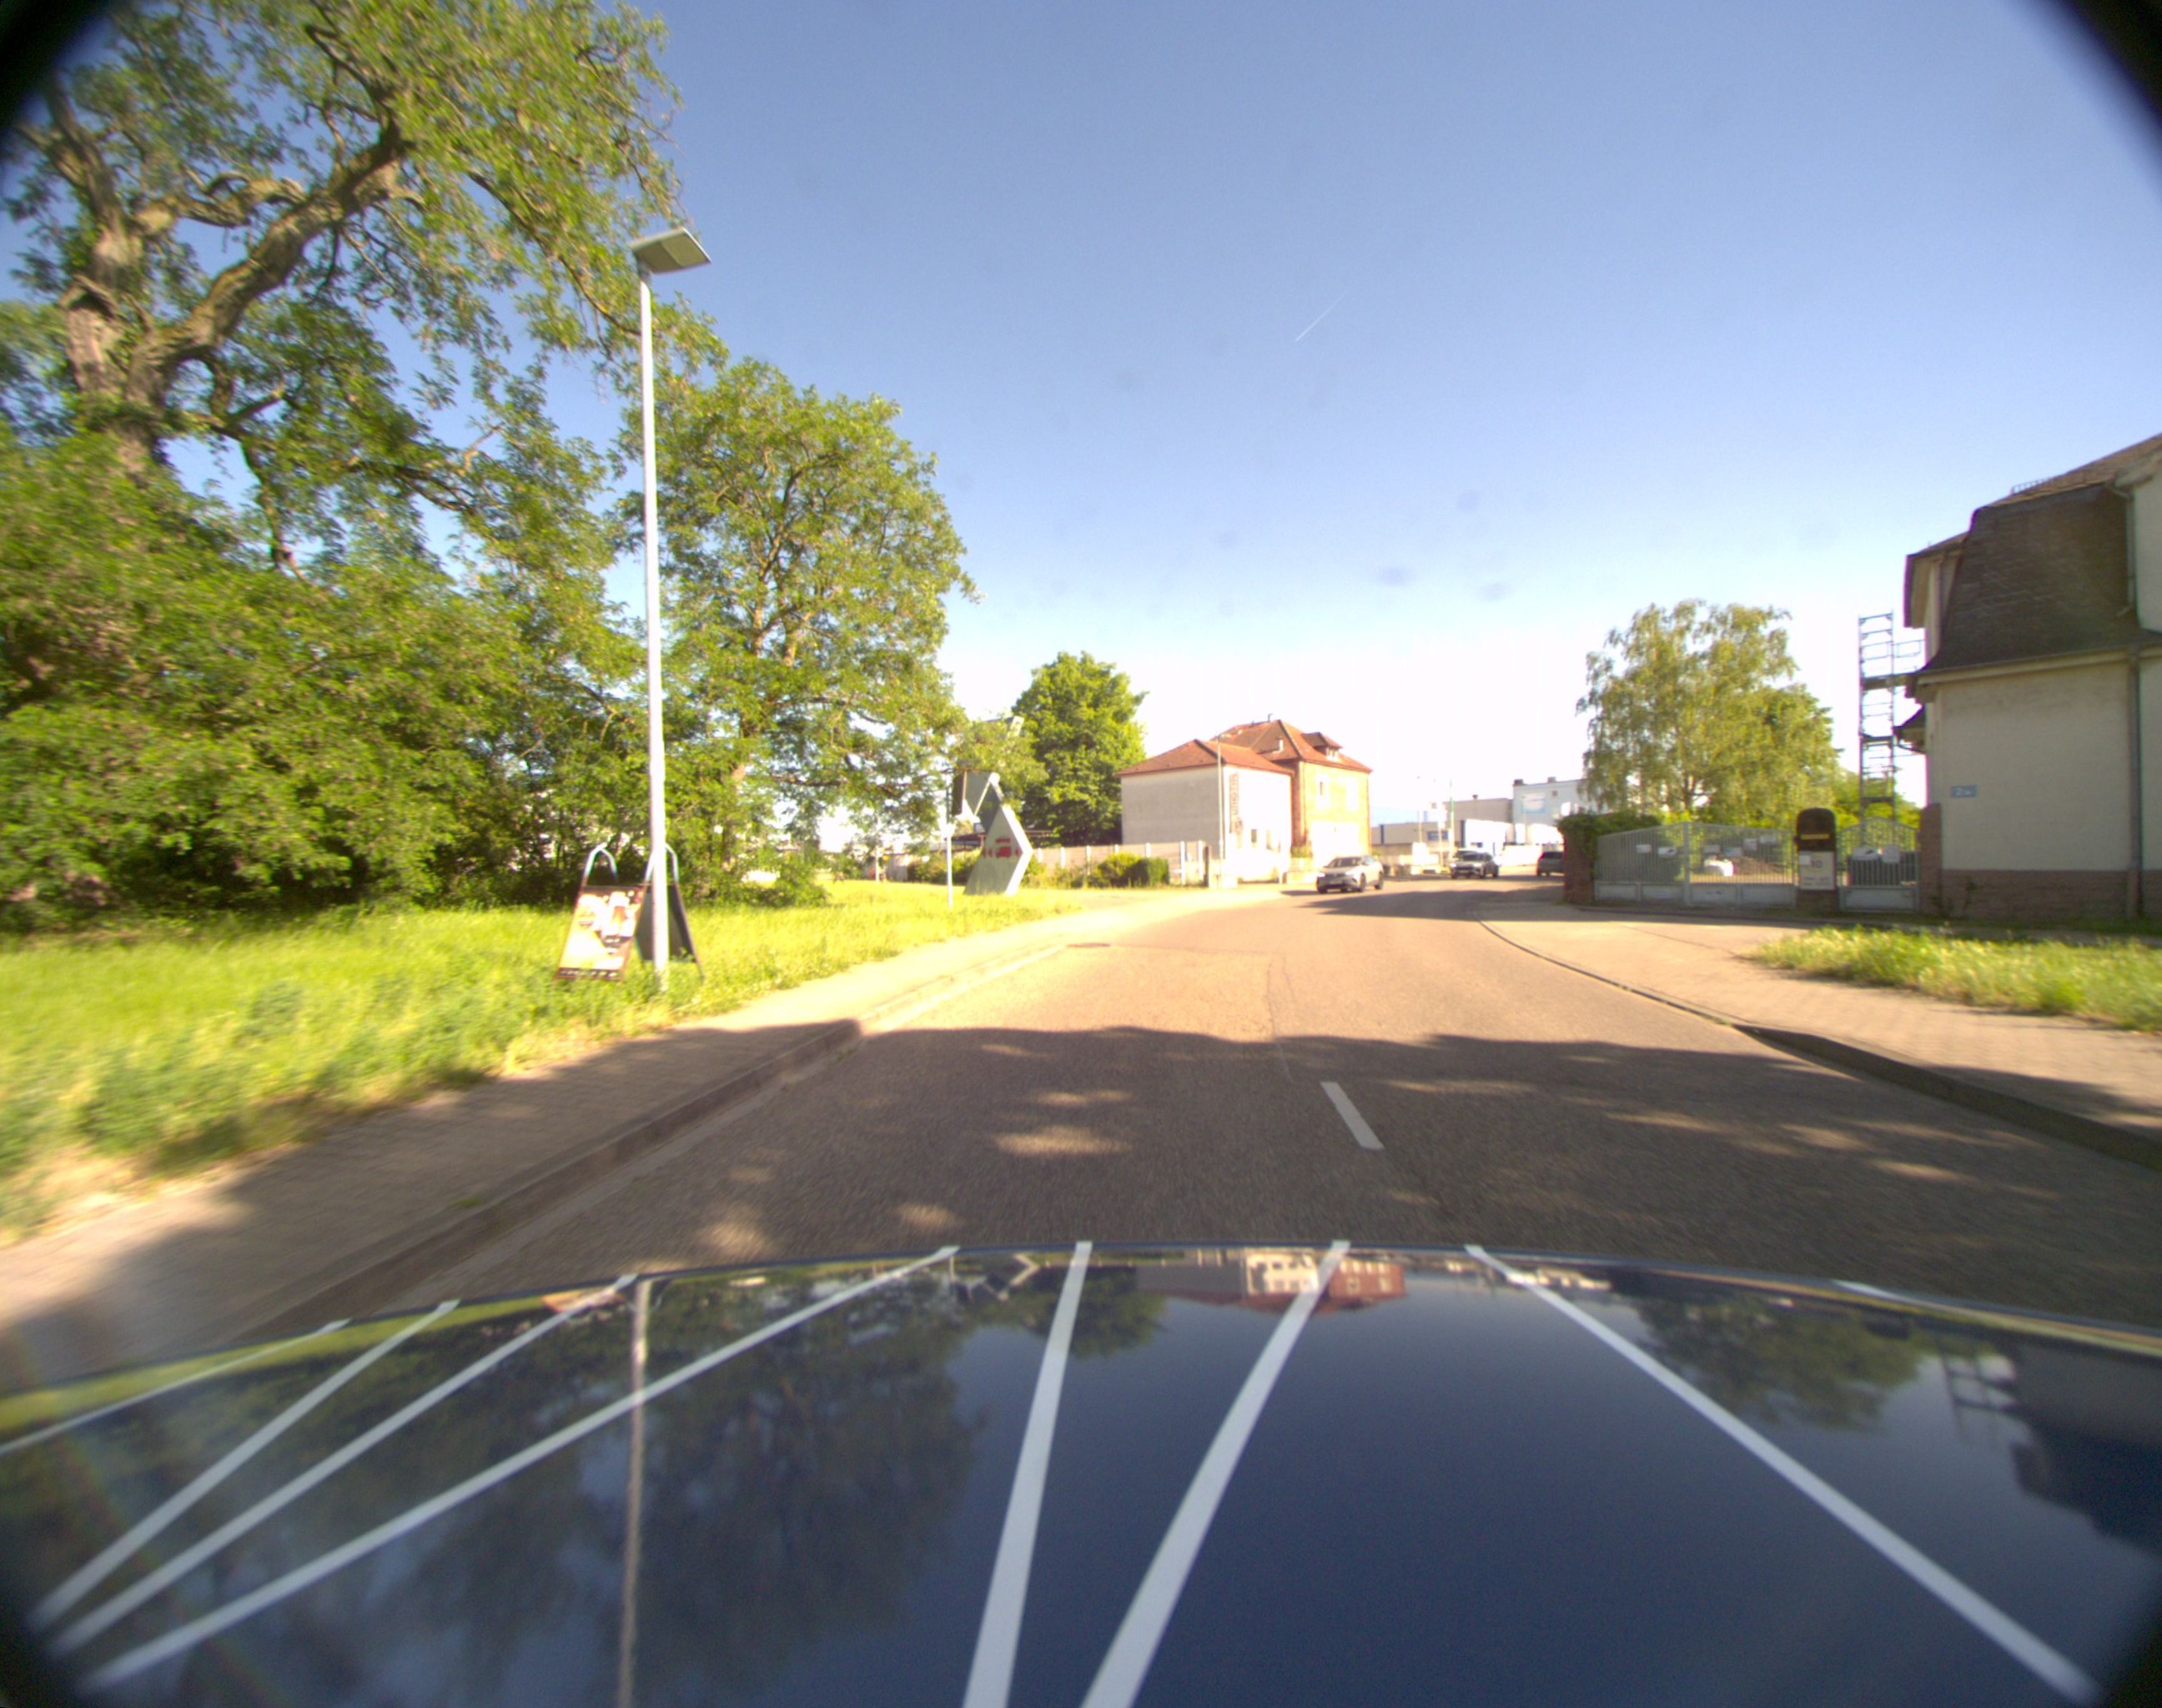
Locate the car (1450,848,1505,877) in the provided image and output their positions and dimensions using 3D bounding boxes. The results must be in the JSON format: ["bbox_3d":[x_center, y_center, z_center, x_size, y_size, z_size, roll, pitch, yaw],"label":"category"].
[{"bbox_3d":[23.797,0.475,45.537,1.846,1.621,4.304,-1,0,42],"label":"car"}]

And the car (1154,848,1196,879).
[{"bbox_3d":[5.656,0.526,46.134,1.998,1.767,4.365,-1,0,0],"label":"car"}]

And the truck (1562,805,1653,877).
[{"bbox_3d":[30.589,-0.698,43.979,2.844,3.596,8.023,-8,-4,43],"label":"truck"}]

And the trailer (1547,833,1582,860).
[{"bbox_3d":[49.308,-0.794,77.473,4.206,2.701,2.157,-1,1,-45],"label":"trailer"}]

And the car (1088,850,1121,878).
[{"bbox_3d":[1.519,0.657,50.812,1.998,1.767,4.365,-1,0,0],"label":"car"}]

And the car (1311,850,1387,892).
[{"bbox_3d":[11.691,0.699,32.954,1.847,1.620,4.304,-5,-2,36],"label":"car"}]

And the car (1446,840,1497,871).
[{"bbox_3d":[28.084,0.099,54.611,1.847,2.001,4.724,-6,-3,44],"label":"car"}]

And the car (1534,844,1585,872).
[{"bbox_3d":[30.677,0.234,48.674,1.994,1.686,4.575,-1,0,42],"label":"car"}]

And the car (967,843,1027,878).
[{"bbox_3d":[-6.386,0.459,57.210,1.842,2.526,5.019,-1,1,-42],"label":"car"}]
